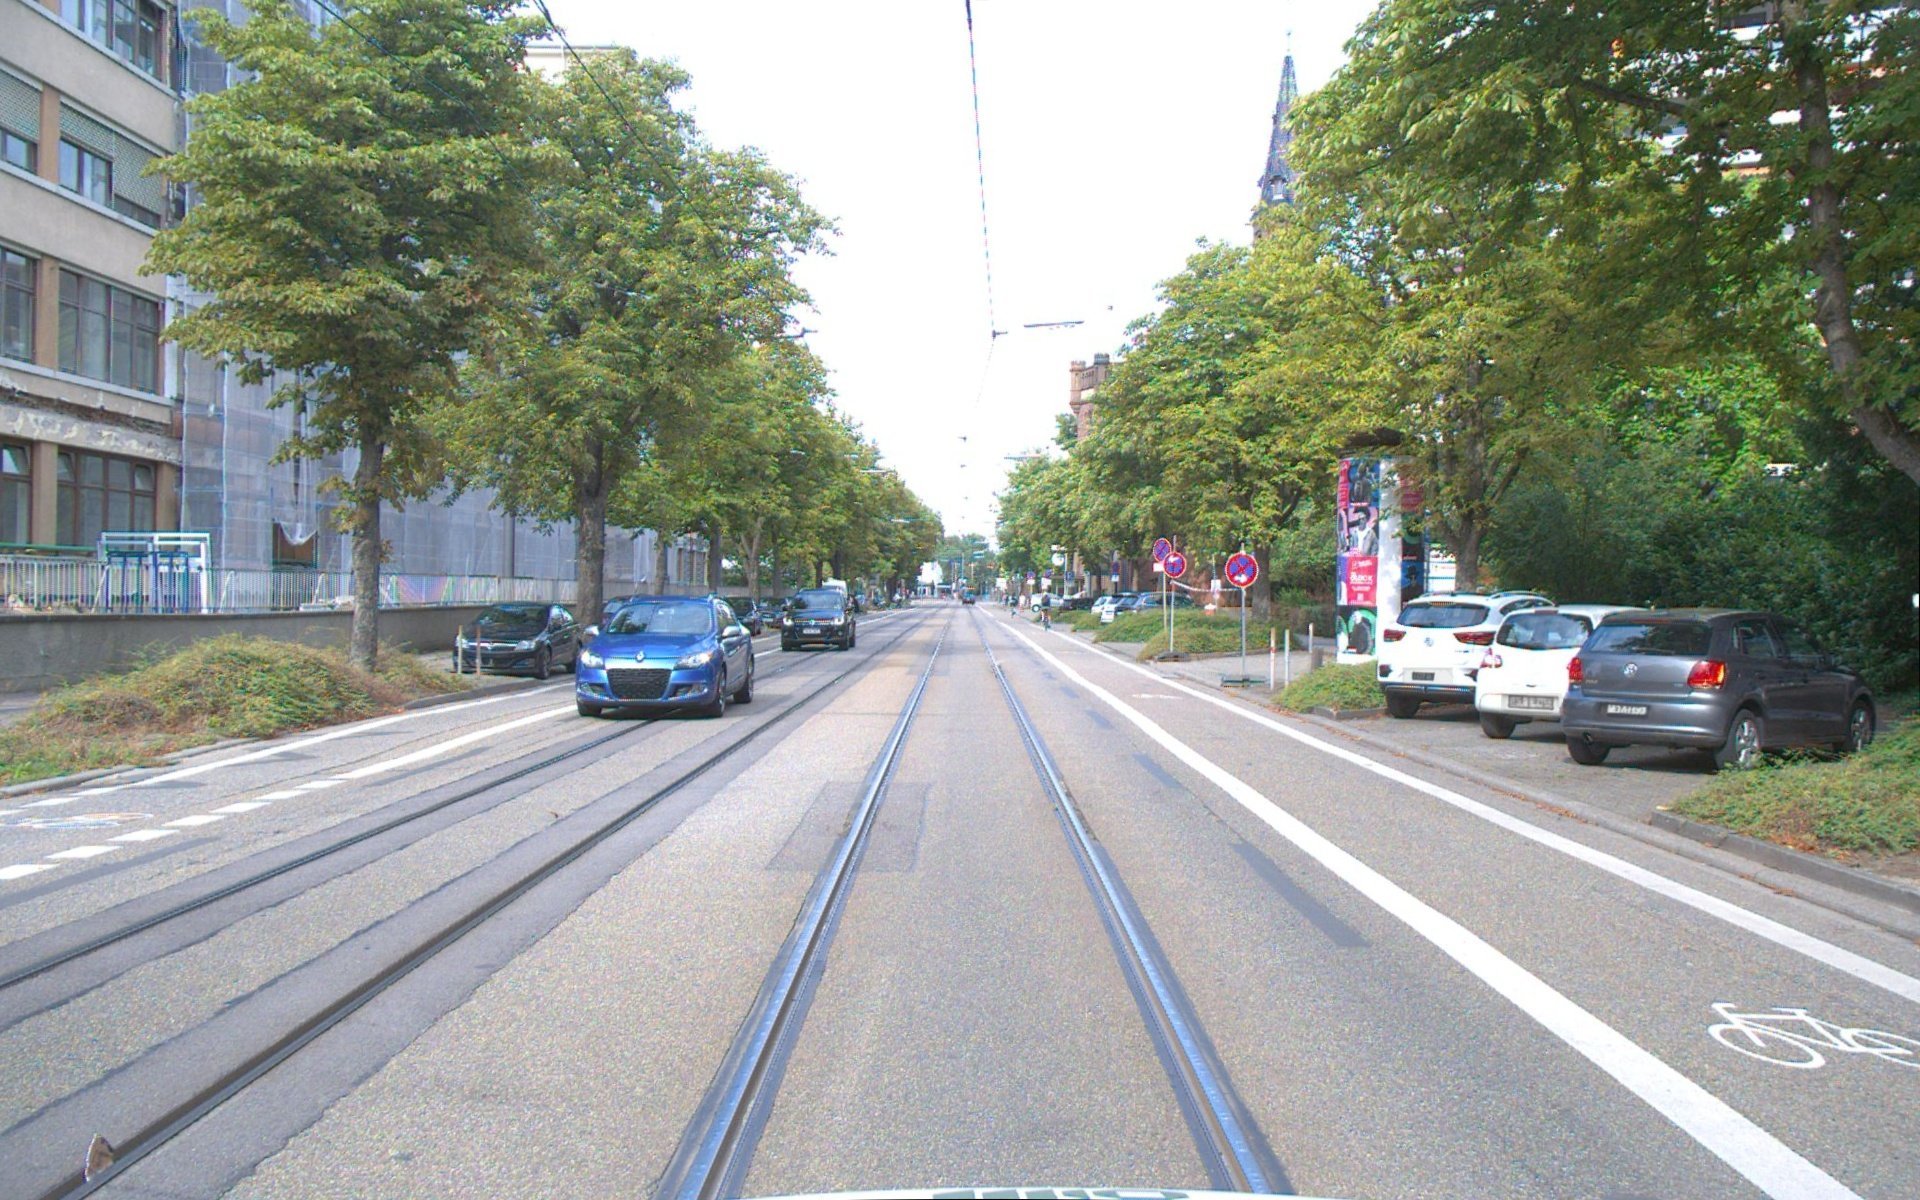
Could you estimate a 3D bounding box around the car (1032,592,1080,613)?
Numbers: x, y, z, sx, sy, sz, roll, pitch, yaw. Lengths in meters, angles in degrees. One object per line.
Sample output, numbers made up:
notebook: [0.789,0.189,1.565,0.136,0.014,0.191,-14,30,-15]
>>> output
car: [8.354,0.208,144.315,3.910,1.722,1.998,1,0,-6]

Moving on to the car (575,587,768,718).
car: [-3.630,0.601,21.546,1.696,1.522,4.378,0,0,1]

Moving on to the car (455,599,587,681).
car: [-8.312,0.722,31.592,1.558,1.427,3.961,1,0,-2]

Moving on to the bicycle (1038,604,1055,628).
bicycle: [3.826,0.705,73.326,0.581,1.062,1.977,1,0,-2]

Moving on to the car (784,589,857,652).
car: [-3.837,0.538,45.939,1.697,1.657,4.377,-1,0,-1]

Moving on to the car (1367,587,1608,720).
car: [7.099,0.671,22.091,1.654,1.630,3.621,0,0,44]

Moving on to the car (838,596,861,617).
car: [-7.892,0.444,118.318,1.558,1.427,3.961,1,0,-2]

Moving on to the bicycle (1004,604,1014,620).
bicycle: [3.537,0.867,118.994,0.650,1.062,1.841,1,0,0]

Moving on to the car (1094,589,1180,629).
car: [7.287,0.377,67.937,1.654,1.630,3.621,0,0,44]

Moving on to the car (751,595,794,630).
car: [-8.149,0.525,72.064,1.558,1.427,3.961,1,0,-2]

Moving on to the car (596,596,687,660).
car: [-8.079,0.682,42.255,1.602,1.522,3.962,1,0,-1]

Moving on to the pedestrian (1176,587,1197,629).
pedestrian: [10.256,0.365,74.893,0.769,1.858,0.662,1,0,20]

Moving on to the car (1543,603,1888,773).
car: [7.344,0.773,15.951,3.612,1.444,1.658,1,0,-40]

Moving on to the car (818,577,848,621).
car: [-8.097,-0.058,105.835,1.686,2.751,5.468,1,0,-2]

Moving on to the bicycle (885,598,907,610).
bicycle: [-6.562,0.439,169.748,2.226,1.210,0.769,1,0,8]

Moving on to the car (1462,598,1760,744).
car: [7.480,0.752,18.880,3.612,1.500,1.658,1,0,-40]

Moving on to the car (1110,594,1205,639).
car: [7.323,0.607,61.189,1.654,1.630,3.621,0,0,44]

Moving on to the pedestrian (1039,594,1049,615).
pedestrian: [7.323,0.404,143.940,0.732,1.821,0.731,1,-1,15]

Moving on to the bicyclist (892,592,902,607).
bicyclist: [-6.449,-0.036,169.737,0.828,1.531,0.769,1,0,7]

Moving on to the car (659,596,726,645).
car: [-8.275,0.604,51.452,1.558,1.427,3.961,1,0,-2]

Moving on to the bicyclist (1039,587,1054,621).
bicyclist: [3.837,0.159,73.328,0.581,1.485,0.875,1,0,-2]

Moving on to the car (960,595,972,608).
car: [0.859,0.185,246.916,1.758,1.855,4.677,1,0,-1]

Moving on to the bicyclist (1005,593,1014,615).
bicyclist: [3.550,0.272,118.999,0.645,1.522,0.929,1,0,0]

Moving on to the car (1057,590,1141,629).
car: [5.902,0.403,70.066,1.654,1.630,3.621,0,0,44]

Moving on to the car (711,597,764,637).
car: [-8.286,0.619,61.764,1.558,1.427,3.961,1,0,-2]
